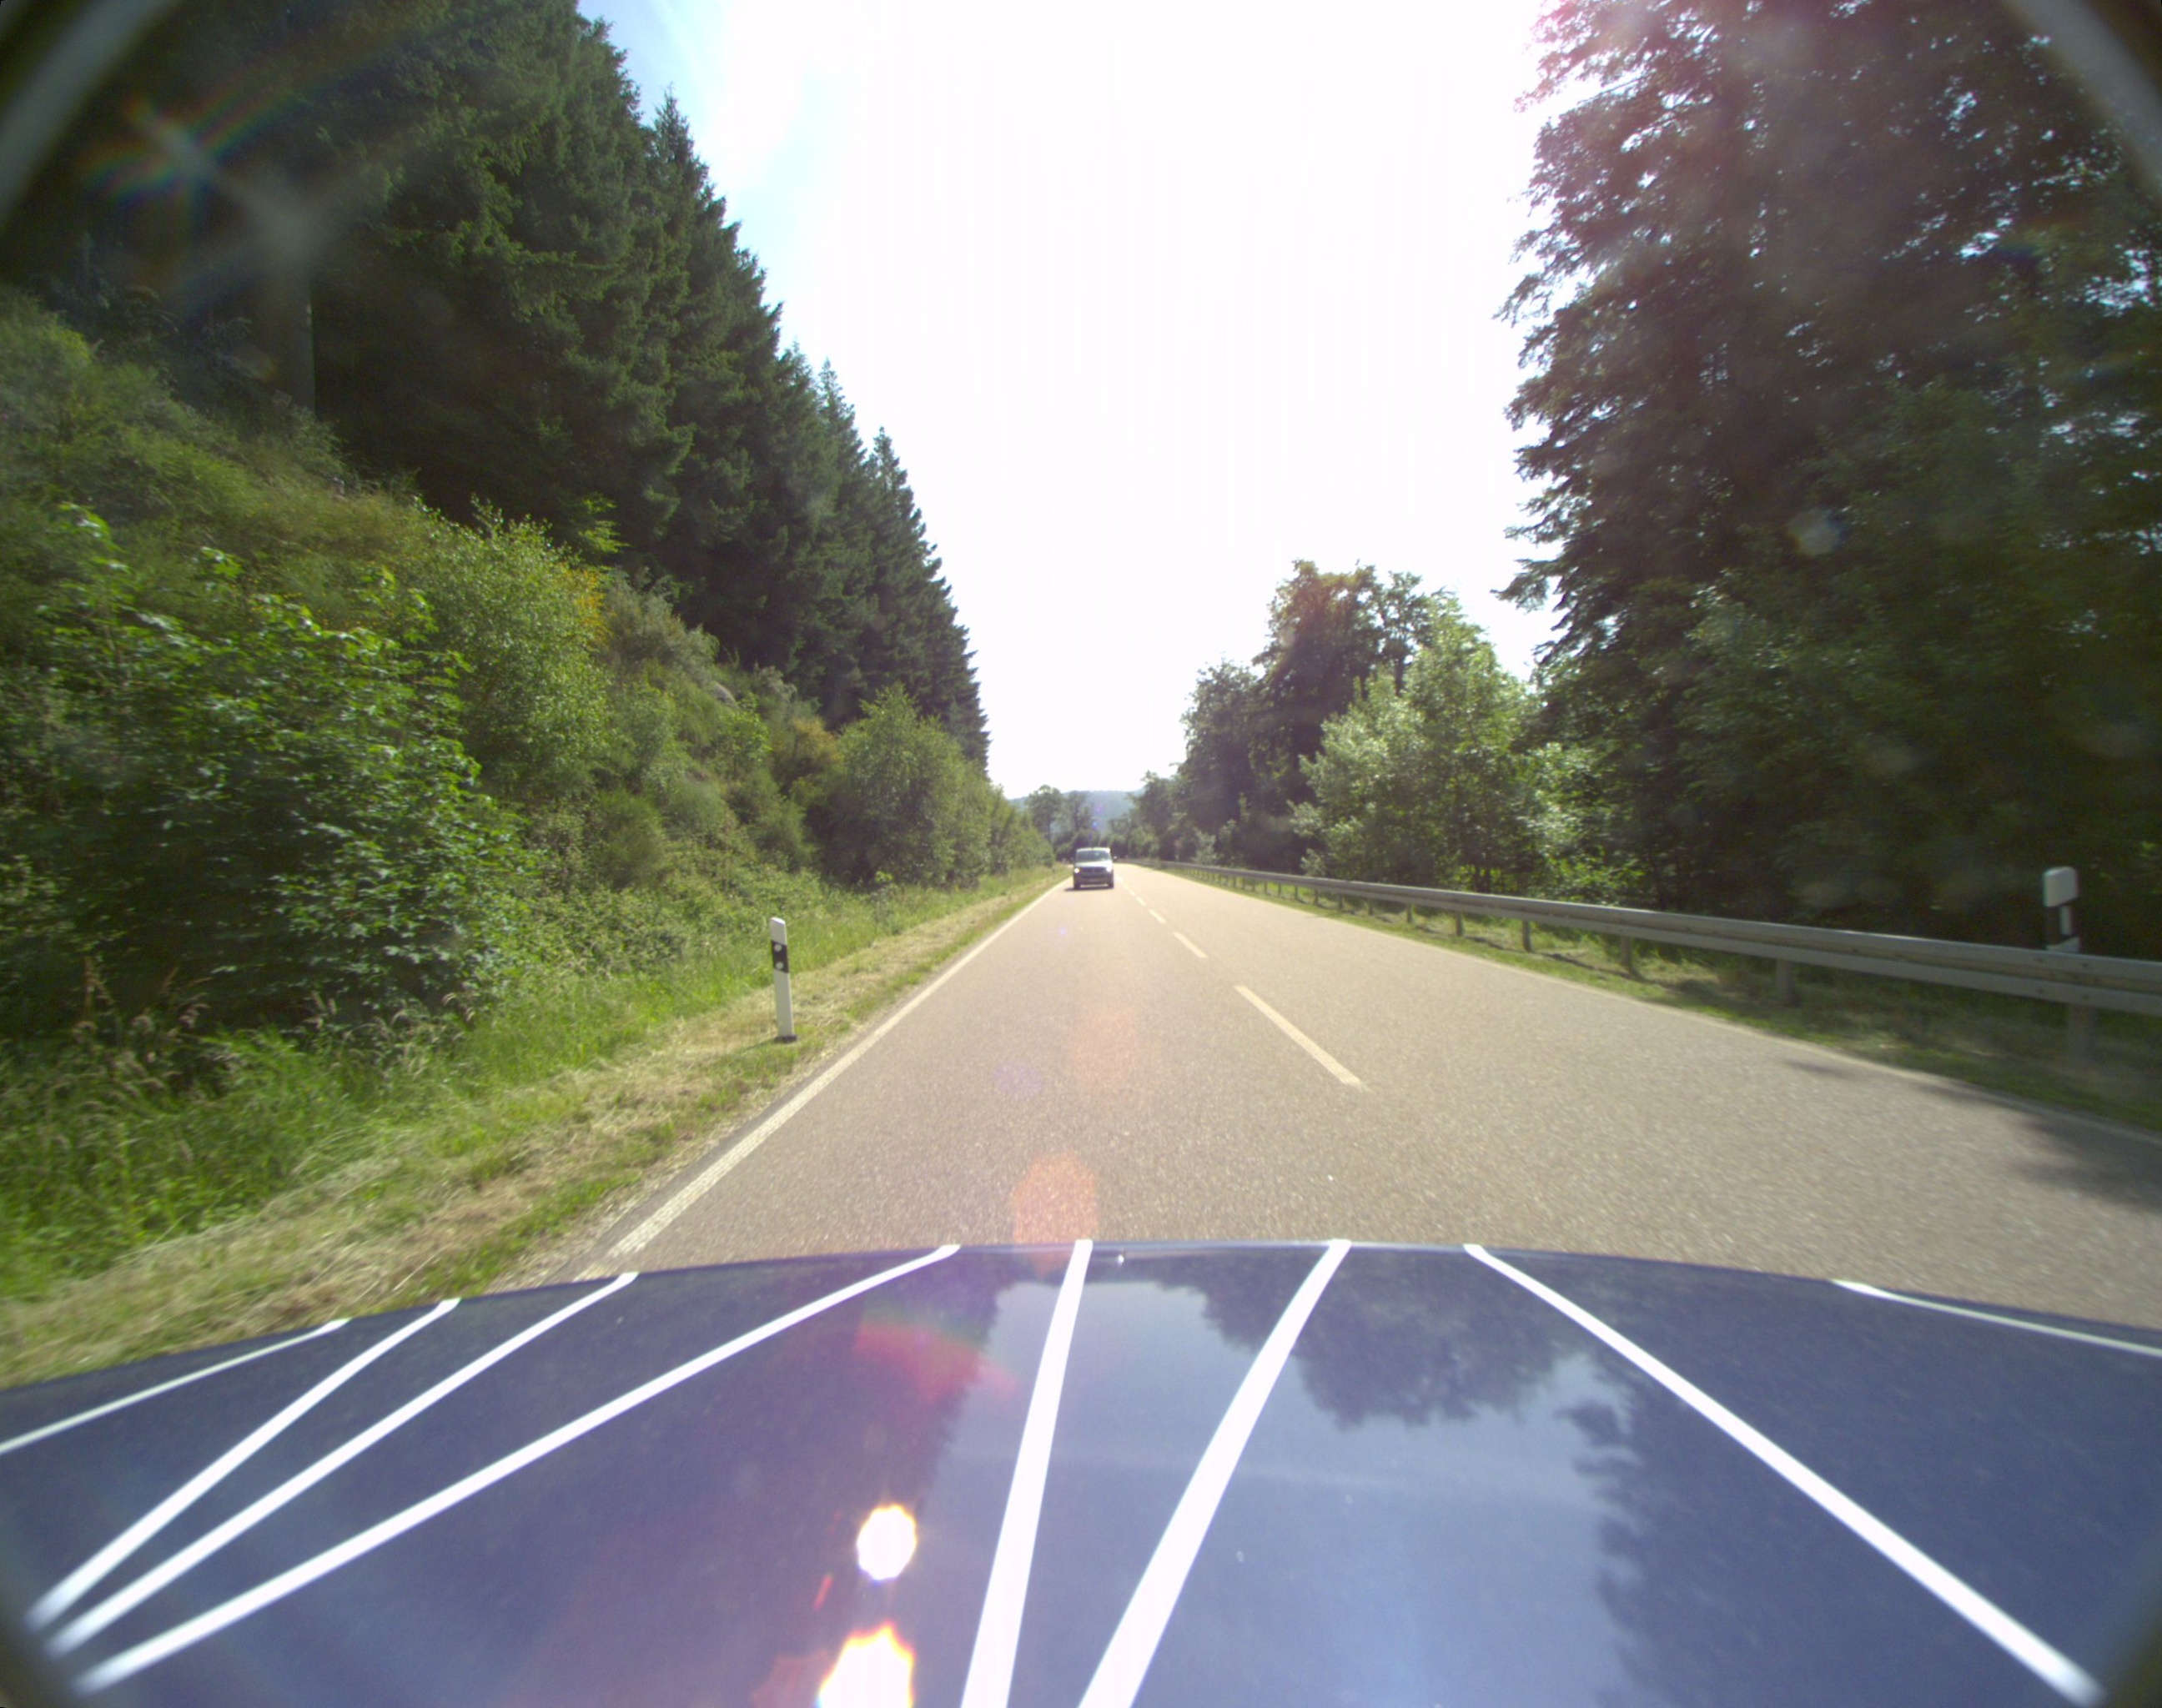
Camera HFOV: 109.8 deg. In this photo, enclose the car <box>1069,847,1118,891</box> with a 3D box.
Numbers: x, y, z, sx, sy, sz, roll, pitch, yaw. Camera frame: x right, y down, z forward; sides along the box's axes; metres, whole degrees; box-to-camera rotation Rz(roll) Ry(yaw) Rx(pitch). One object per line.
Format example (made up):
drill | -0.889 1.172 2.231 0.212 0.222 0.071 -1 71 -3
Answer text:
car | 0.675 0.677 36.682 1.990 1.899 4.761 -2 0 4
